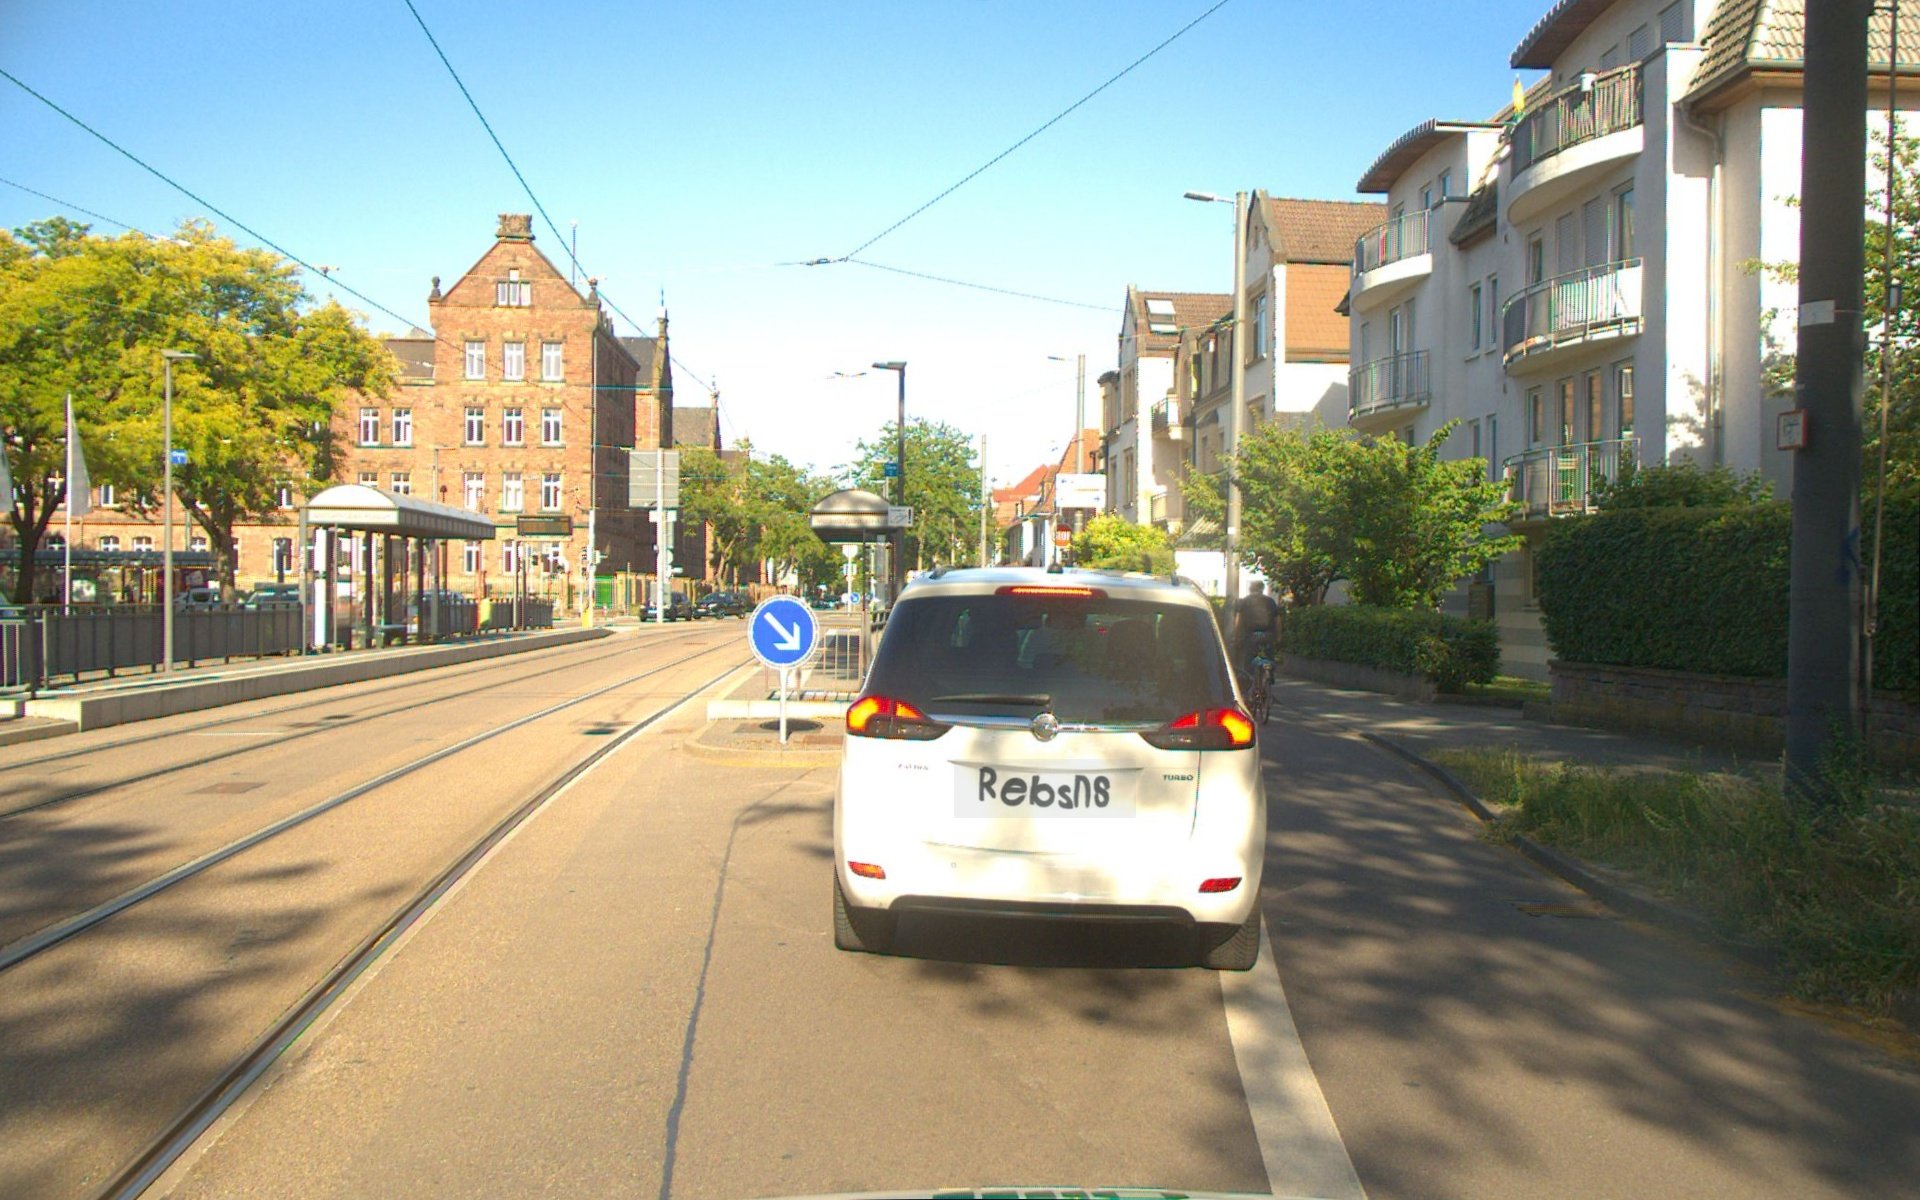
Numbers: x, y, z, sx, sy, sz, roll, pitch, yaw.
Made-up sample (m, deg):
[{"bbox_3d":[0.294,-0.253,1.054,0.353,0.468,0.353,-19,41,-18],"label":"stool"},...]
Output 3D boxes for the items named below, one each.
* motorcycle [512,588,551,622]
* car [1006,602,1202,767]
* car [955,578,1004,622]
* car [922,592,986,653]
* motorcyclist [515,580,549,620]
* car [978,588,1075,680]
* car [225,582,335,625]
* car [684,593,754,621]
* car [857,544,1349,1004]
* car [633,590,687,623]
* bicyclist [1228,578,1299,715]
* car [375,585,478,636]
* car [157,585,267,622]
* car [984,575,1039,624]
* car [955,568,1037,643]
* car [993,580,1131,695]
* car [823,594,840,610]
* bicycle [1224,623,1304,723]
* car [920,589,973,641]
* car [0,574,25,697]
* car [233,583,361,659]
[{"bbox_3d":[-16.588,0.208,64.096,1.108,1.265,2.569,1,0,-7],"label":"motorcycle"},{"bbox_3d":[1.339,0.752,16.673,1.554,1.445,3.899,0,0,-1],"label":"car"},{"bbox_3d":[0.744,0.005,64.315,1.740,1.660,3.879,1,0,-1],"label":"car"},{"bbox_3d":[-0.190,0.629,47.818,1.740,1.660,3.880,1,0,-1],"label":"car"},{"bbox_3d":[-16.577,0.002,64.038,1.103,1.552,1.053,1,0,-7],"label":"motorcyclist"},{"bbox_3d":[1.247,0.633,32.448,1.739,1.660,3.880,1,0,0],"label":"car"},{"bbox_3d":[-28.005,0.137,68.207,3.780,1.689,1.750,1,0,-1],"label":"car"},{"bbox_3d":[-14.203,0.412,97.625,1.958,1.573,3.988,1,0,33],"label":"car"},{"bbox_3d":[0.446,0.652,8.039,1.798,1.670,3.916,1,0,-3],"label":"car"},{"bbox_3d":[-14.790,0.333,81.640,1.953,1.573,3.999,1,0,-1],"label":"car"},{"bbox_3d":[3.802,0.575,20.780,0.672,1.663,1.015,1,0,-1],"label":"bicyclist"},{"bbox_3d":[-15.815,0.292,49.282,1.846,1.440,4.621,0,0,-4],"label":"car"},{"bbox_3d":[-33.069,0.138,73.232,3.982,1.548,1.877,1,0,-1],"label":"car"},{"bbox_3d":[1.830,0.002,59.293,1.740,1.660,3.879,1,0,-1],"label":"car"},{"bbox_3d":[0.806,0.129,39.102,1.740,1.660,3.879,1,0,-1],"label":"car"},{"bbox_3d":[1.546,0.563,26.312,1.740,1.660,3.878,1,0,-3],"label":"car"},{"bbox_3d":[-14.906,0.223,192.615,1.868,1.706,4.355,1,0,-3],"label":"car"},{"bbox_3d":[3.796,0.895,20.778,0.671,1.177,1.619,1,0,-1],"label":"bicycle"},{"bbox_3d":[-0.503,0.503,57.091,1.740,1.722,3.879,1,0,-1],"label":"car"},{"bbox_3d":[-13.536,0.475,20.896,1.888,1.645,4.104,0,0,-13],"label":"car"},{"bbox_3d":[-15.470,0.449,38.804,1.762,1.666,4.112,-1,0,-7],"label":"car"}]
